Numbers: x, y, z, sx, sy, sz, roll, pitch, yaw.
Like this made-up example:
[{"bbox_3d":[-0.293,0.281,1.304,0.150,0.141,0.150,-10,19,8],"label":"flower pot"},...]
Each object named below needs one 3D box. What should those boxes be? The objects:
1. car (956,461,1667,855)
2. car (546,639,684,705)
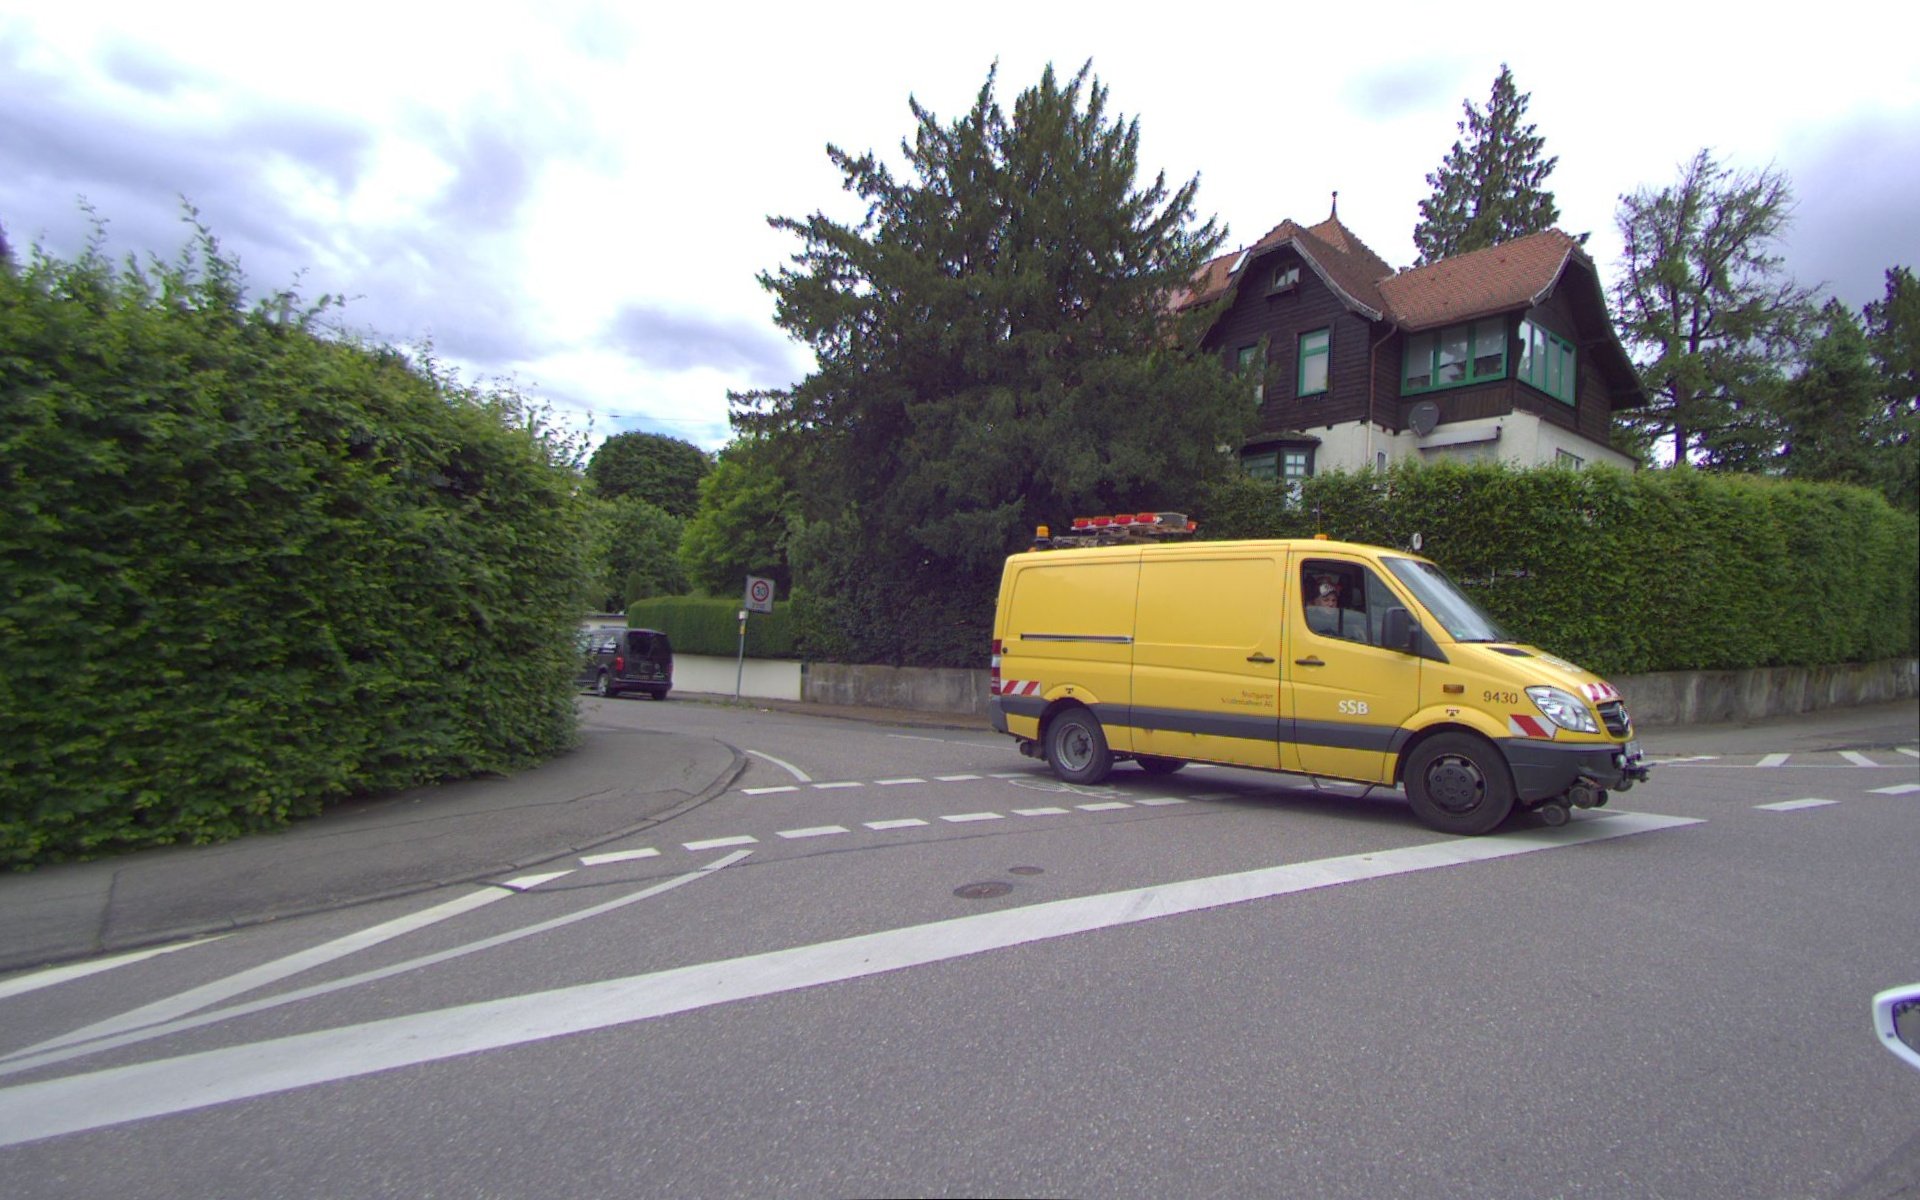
[{"bbox_3d":[2.948,0.480,9.688,6.059,2.635,2.354,-2,-2,44],"label":"car"},{"bbox_3d":[-9.349,1.879,27.075,4.024,1.645,1.816,-2,-3,42],"label":"car"}]
